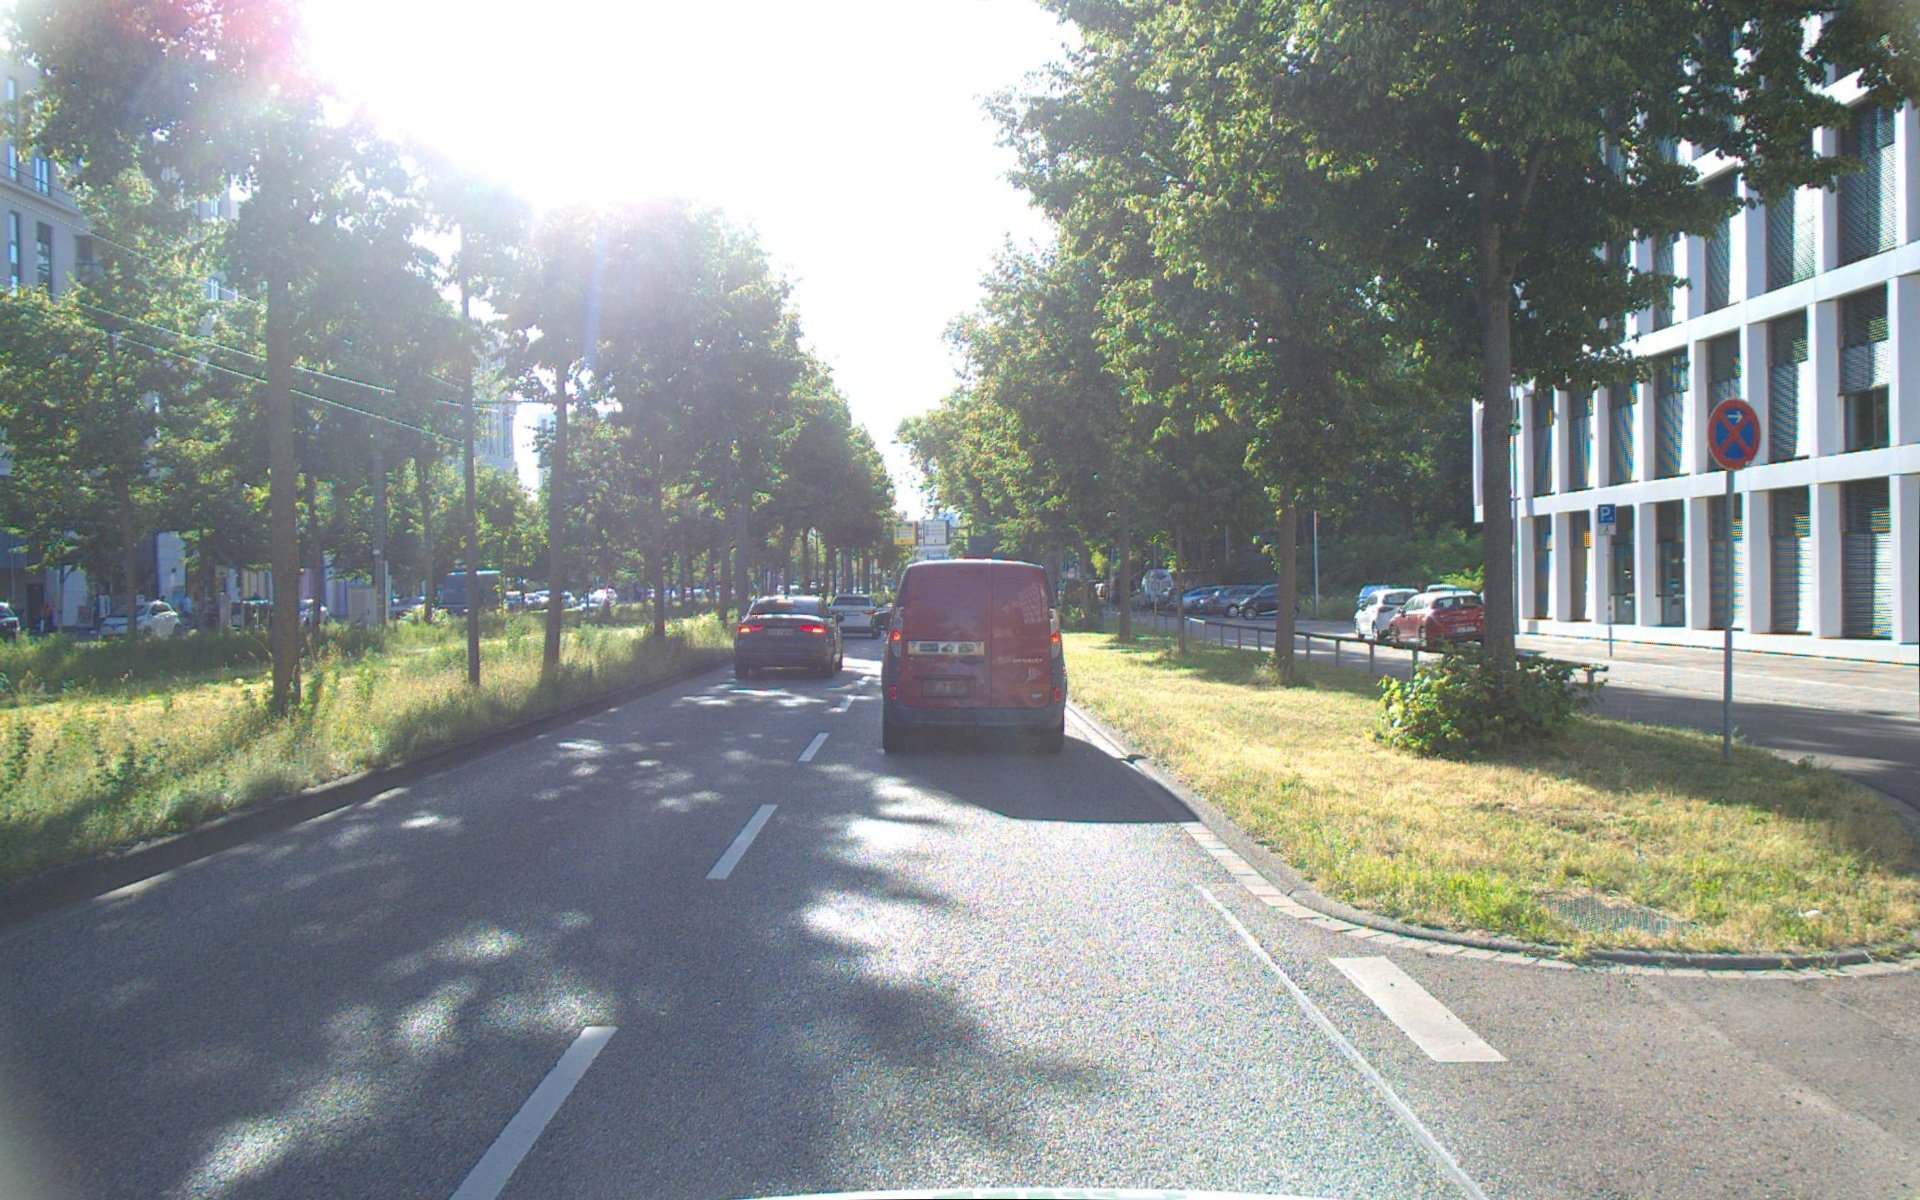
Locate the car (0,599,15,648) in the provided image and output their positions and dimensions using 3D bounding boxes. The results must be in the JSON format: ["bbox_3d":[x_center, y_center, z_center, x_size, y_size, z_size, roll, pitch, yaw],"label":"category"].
[{"bbox_3d":[-31.377,0.772,51.486,1.740,1.555,3.805,-1,1,-1],"label":"car"}]

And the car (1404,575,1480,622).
[{"bbox_3d":[19.505,-0.065,67.096,1.952,1.847,4.000,0,0,1],"label":"car"}]

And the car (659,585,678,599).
[{"bbox_3d":[-34.189,-0.954,193.852,1.569,1.583,3.999,-1,1,-1],"label":"car"}]

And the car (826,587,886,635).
[{"bbox_3d":[-3.356,0.323,53.797,1.771,1.459,4.112,-1,1,-2],"label":"car"}]

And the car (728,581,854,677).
[{"bbox_3d":[-2.966,0.465,29.774,1.771,1.554,4.113,-1,1,1],"label":"car"}]

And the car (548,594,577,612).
[{"bbox_3d":[-32.570,0.250,135.558,1.548,1.365,3.711,-1,1,-1],"label":"car"}]

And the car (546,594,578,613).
[{"bbox_3d":[-30.019,0.252,124.823,1.548,1.365,3.711,-1,1,-1],"label":"car"}]

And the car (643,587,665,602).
[{"bbox_3d":[-33.367,-0.595,180.368,1.720,1.601,3.999,-1,1,-1],"label":"car"}]

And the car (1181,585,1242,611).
[{"bbox_3d":[14.212,-0.135,93.532,3.327,1.382,1.472,-1,0,6],"label":"car"}]

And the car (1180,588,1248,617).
[{"bbox_3d":[12.912,0.110,84.318,3.327,1.382,1.472,-1,0,6],"label":"car"}]

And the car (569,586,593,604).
[{"bbox_3d":[-39.625,-0.513,173.016,1.697,1.803,3.999,-1,1,-1],"label":"car"}]

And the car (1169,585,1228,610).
[{"bbox_3d":[13.914,-0.138,96.469,3.327,1.382,1.472,-1,0,6],"label":"car"}]

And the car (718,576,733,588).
[{"bbox_3d":[-33.197,-2.538,234.201,1.720,1.601,3.999,-1,1,-1],"label":"car"}]

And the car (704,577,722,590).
[{"bbox_3d":[-32.082,-2.169,214.745,1.720,1.601,3.999,-1,1,-1],"label":"car"}]

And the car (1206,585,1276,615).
[{"bbox_3d":[13.983,-0.009,82.386,3.327,1.382,1.472,-1,0,6],"label":"car"}]

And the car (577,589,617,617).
[{"bbox_3d":[-20.790,0.147,94.774,1.548,1.534,3.711,-1,1,-1],"label":"car"}]

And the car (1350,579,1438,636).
[{"bbox_3d":[12.599,0.193,48.218,1.781,1.559,3.438,-1,1,3],"label":"car"}]

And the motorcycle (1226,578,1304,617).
[{"bbox_3d":[13.800,-0.112,74.974,3.327,1.692,1.472,-1,0,6],"label":"motorcycle"}]

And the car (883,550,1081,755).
[{"bbox_3d":[0.153,0.424,16.922,1.771,1.825,4.112,0,1,-1],"label":"car"}]

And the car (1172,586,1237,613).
[{"bbox_3d":[12.858,-0.034,87.155,3.327,1.382,1.472,-1,0,6],"label":"car"}]

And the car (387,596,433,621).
[{"bbox_3d":[-32.332,0.503,97.330,1.548,1.365,3.711,-1,1,-1],"label":"car"}]

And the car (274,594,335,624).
[{"bbox_3d":[-31.649,0.440,79.954,1.548,1.365,3.711,-1,1,-1],"label":"car"}]

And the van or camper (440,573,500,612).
[{"bbox_3d":[-23.040,-0.348,77.913,1.784,1.768,3.711,-1,1,-1],"label":"van or camper"}]

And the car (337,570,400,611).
[{"bbox_3d":[-30.534,-0.504,85.528,1.954,2.049,3.998,-1,1,-3],"label":"car"}]

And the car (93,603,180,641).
[{"bbox_3d":[-31.678,0.830,63.725,1.548,1.365,3.711,-1,1,-1],"label":"car"}]

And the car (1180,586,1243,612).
[{"bbox_3d":[13.811,-0.065,90.779,3.327,1.382,1.472,-1,0,6],"label":"car"}]

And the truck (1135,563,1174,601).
[{"bbox_3d":[13.378,-1.235,114.064,1.794,2.544,5.931,-1,0,-1],"label":"truck"}]

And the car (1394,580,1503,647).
[{"bbox_3d":[12.670,0.321,43.137,1.722,1.639,3.904,-1,1,1],"label":"car"}]
